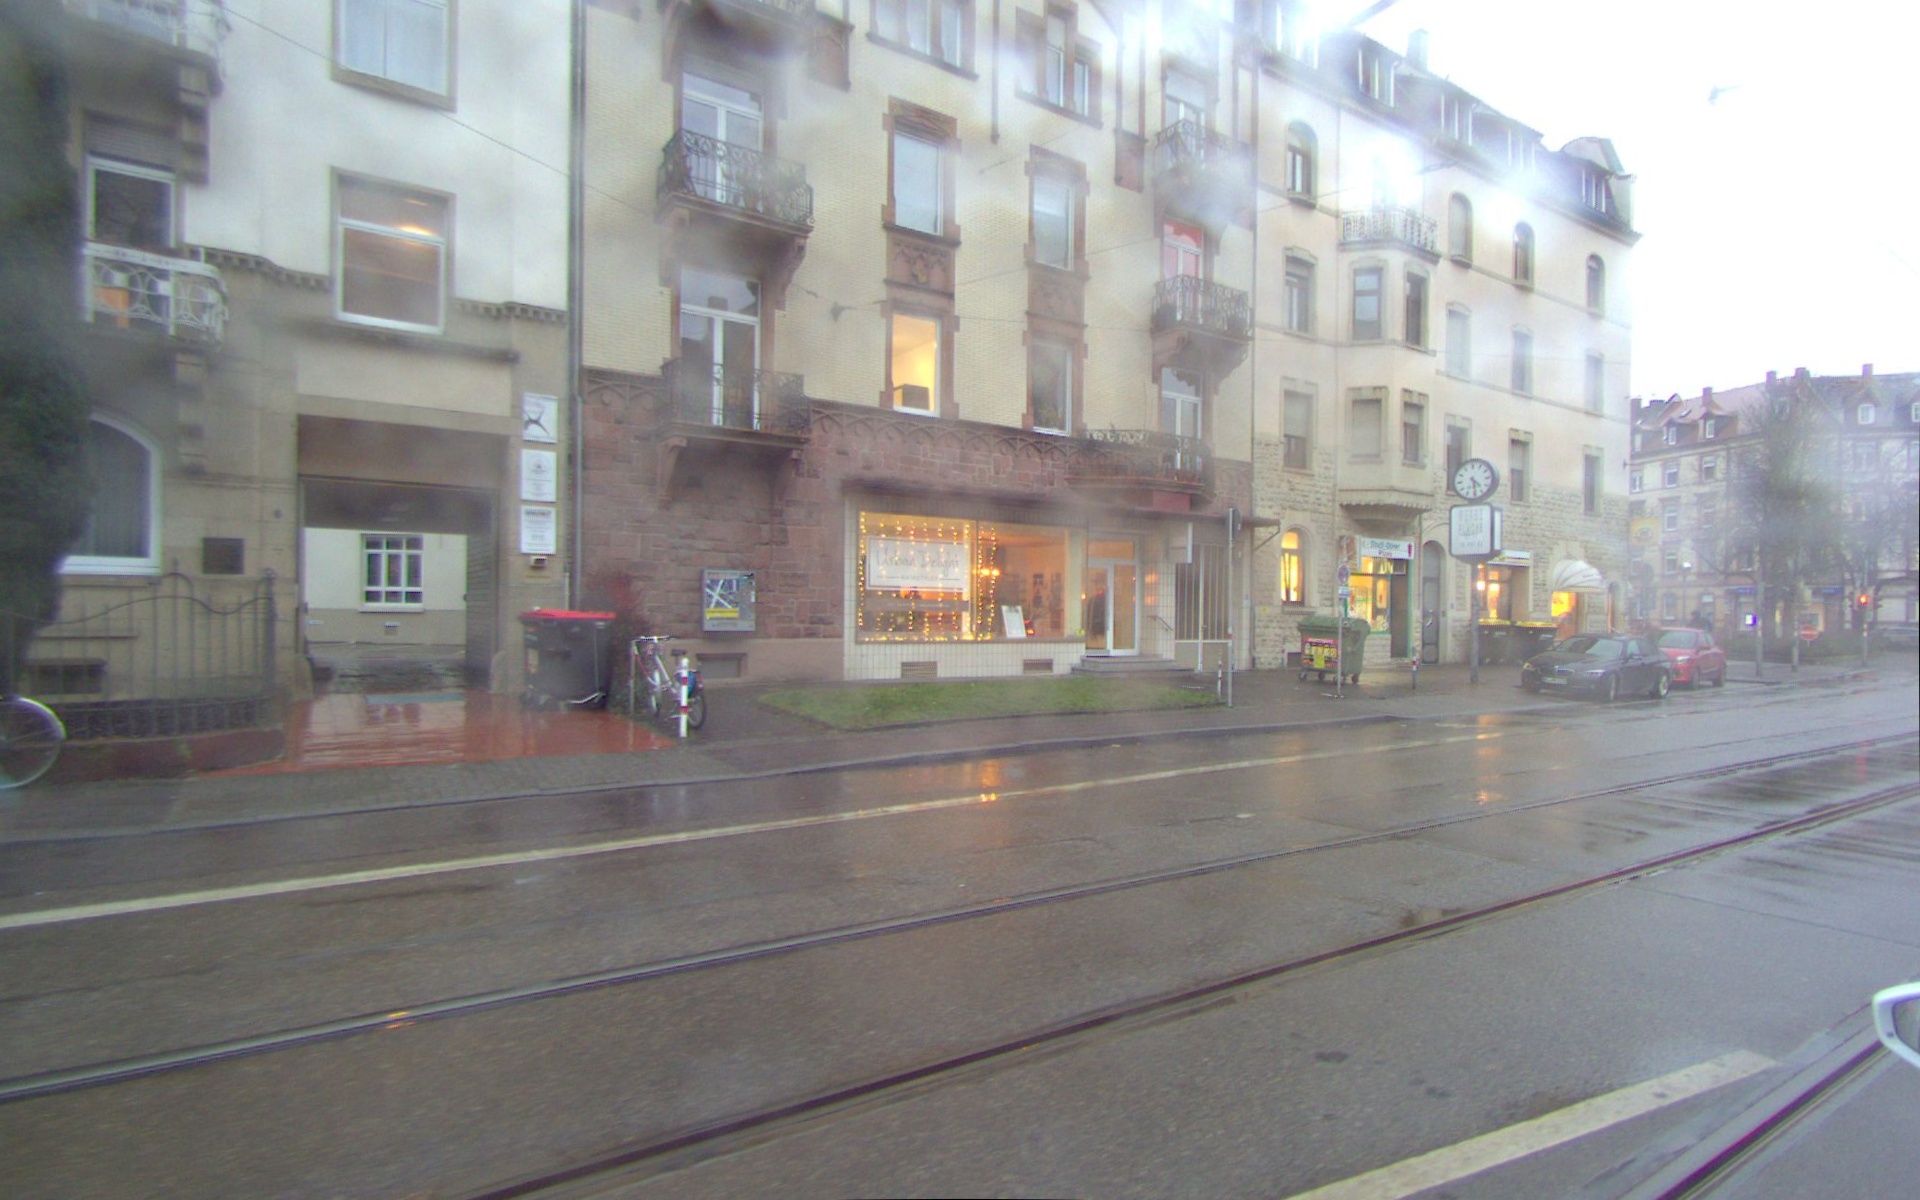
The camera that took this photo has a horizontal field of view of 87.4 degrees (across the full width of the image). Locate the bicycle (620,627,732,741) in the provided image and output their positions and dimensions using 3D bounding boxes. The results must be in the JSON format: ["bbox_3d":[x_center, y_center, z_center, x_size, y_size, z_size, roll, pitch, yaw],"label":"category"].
[{"bbox_3d":[-3.501,0.955,12.211,0.687,1.120,2.336,1,2,-31],"label":"bicycle"}]

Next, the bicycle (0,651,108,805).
[{"bbox_3d":[-7.513,0.954,7.508,1.643,1.107,0.620,1,-1,-32],"label":"bicycle"}]

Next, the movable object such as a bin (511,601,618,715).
[{"bbox_3d":[-5.362,0.754,13.606,1.155,1.398,1.096,1,2,-32],"label":"movable object such as a bin"}]

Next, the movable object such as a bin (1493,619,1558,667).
[{"bbox_3d":[17.151,1.282,30.478,1.239,1.385,1.286,1,0,-33],"label":"movable object such as a bin"}]

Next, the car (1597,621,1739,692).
[{"bbox_3d":[19.039,1.445,26.974,3.996,1.573,2.021,1,3,-39],"label":"car"}]

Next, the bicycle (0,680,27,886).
[{"bbox_3d":[-6.186,1.010,5.165,1.926,1.107,0.620,1,-1,-32],"label":"bicycle"}]

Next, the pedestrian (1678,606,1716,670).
[{"bbox_3d":[24.000,1.228,32.729,0.635,2.040,0.758,2,0,3],"label":"pedestrian"}]

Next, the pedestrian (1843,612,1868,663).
[{"bbox_3d":[36.418,1.499,40.847,0.695,2.040,0.658,0,0,38],"label":"pedestrian"}]

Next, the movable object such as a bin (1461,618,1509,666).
[{"bbox_3d":[15.811,1.266,30.259,0.996,1.396,0.893,1,0,-33],"label":"movable object such as a bin"}]

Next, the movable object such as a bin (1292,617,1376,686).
[{"bbox_3d":[8.276,1.120,22.252,1.236,1.439,1.260,1,0,-33],"label":"movable object such as a bin"}]

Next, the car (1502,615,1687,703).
[{"bbox_3d":[14.717,1.316,23.230,4.587,1.667,1.972,2,3,-36],"label":"car"}]
